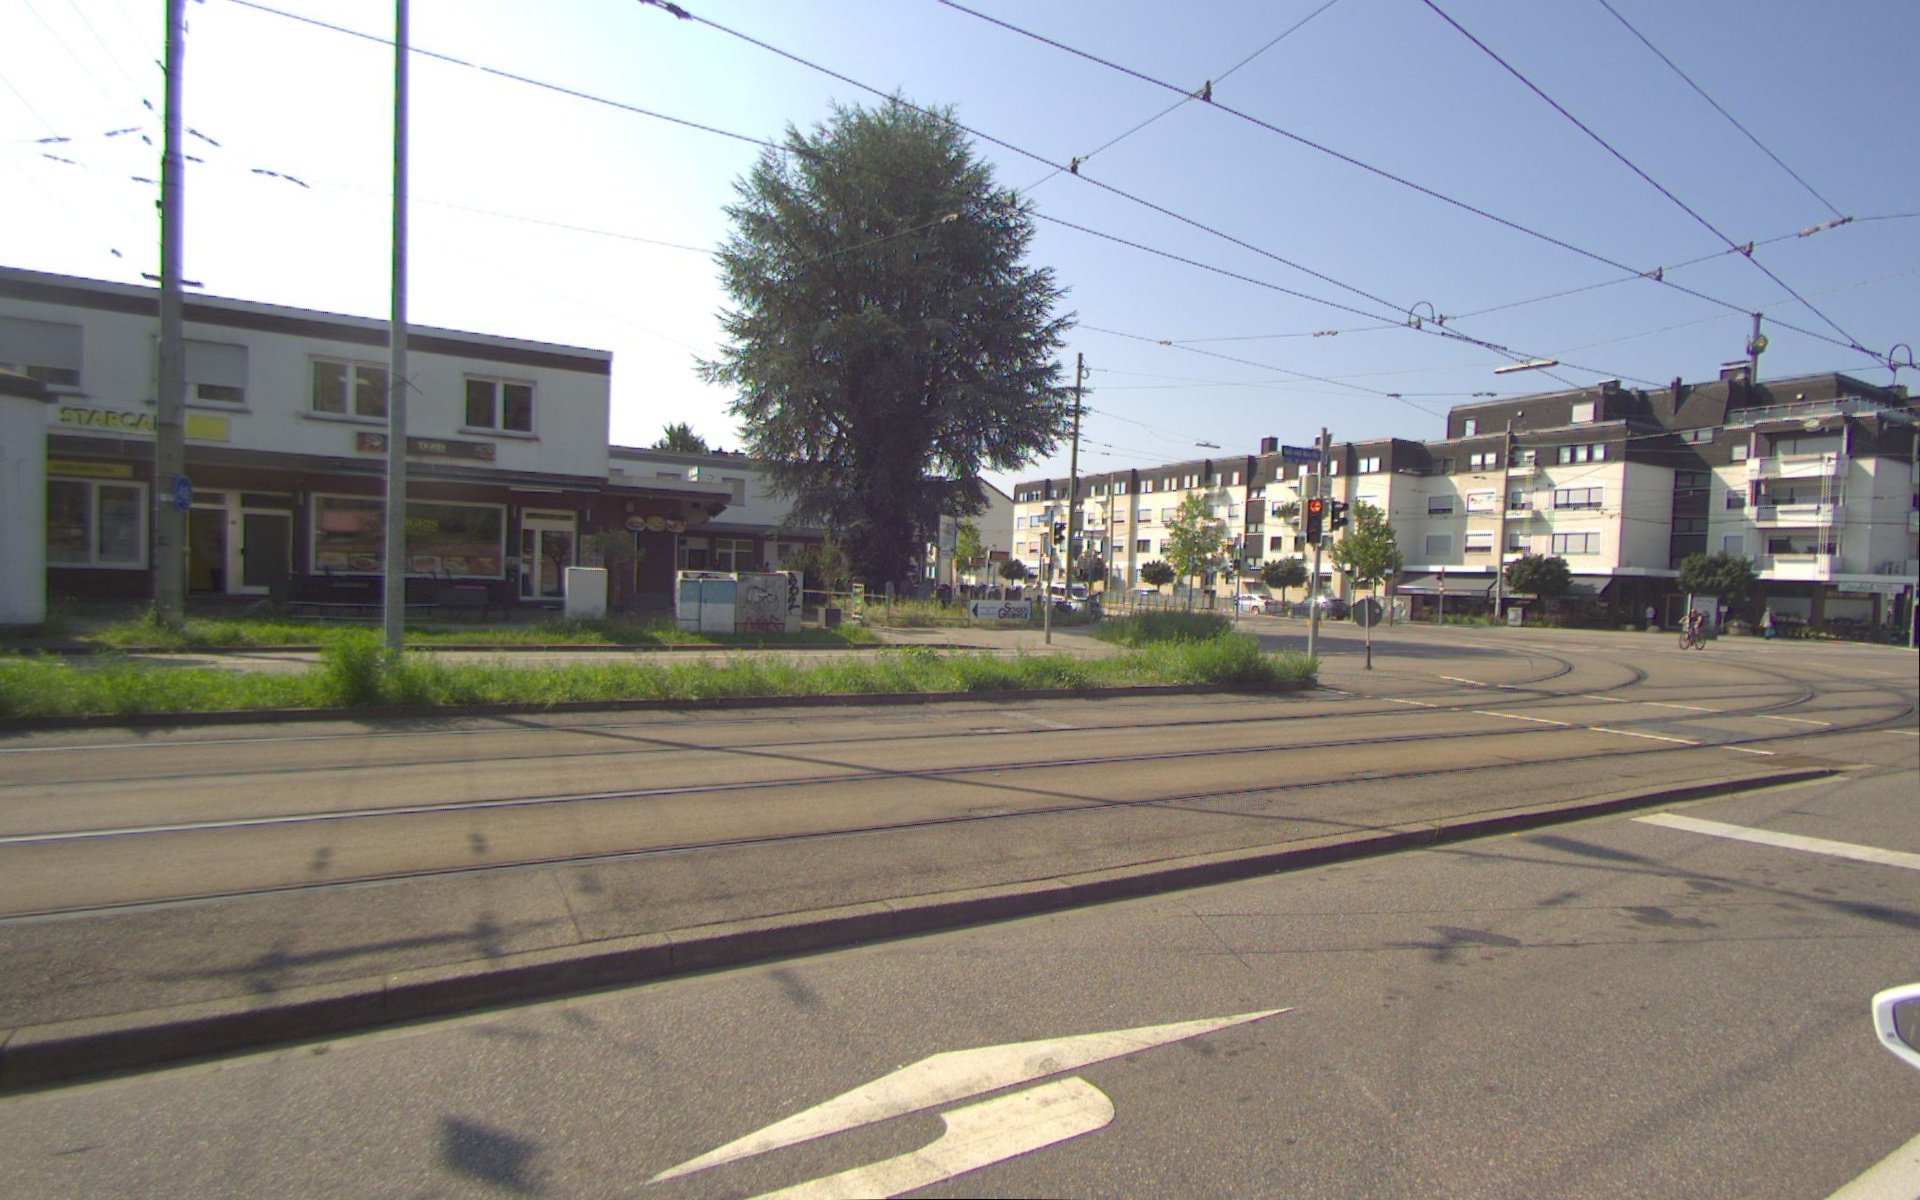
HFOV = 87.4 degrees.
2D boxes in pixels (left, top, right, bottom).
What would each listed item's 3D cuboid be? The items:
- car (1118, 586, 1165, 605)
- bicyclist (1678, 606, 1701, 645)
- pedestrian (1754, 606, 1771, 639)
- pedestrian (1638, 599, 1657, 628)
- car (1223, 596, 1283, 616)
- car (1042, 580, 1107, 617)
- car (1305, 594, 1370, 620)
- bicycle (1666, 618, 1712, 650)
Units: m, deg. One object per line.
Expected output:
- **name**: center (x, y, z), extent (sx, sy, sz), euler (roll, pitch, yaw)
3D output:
- **car**: center (14.961, -0.392, 82.949), extent (1.653, 1.500, 3.886), euler (2, -1, -30)
- **bicyclist**: center (28.729, 1.005, 39.545), extent (0.484, 1.543, 0.566), euler (2, 0, -28)
- **pedestrian**: center (43.828, 1.210, 54.883), extent (0.589, 1.768, 0.565), euler (1, 0, 27)
- **pedestrian**: center (41.662, 0.823, 60.834), extent (0.689, 1.764, 0.677), euler (2, 0, -29)
- **car**: center (20.884, 0.415, 71.677), extent (1.653, 1.316, 4.089), euler (2, -1, -30)
- **car**: center (6.617, -0.126, 58.423), extent (1.800, 1.912, 3.997), euler (1, 2, -27)
- **car**: center (27.184, 0.480, 72.454), extent (1.907, 1.527, 4.089), euler (2, 2, -30)
- **bicycle**: center (28.702, 1.340, 39.538), extent (2.180, 1.195, 0.572), euler (1, 0, -28)
